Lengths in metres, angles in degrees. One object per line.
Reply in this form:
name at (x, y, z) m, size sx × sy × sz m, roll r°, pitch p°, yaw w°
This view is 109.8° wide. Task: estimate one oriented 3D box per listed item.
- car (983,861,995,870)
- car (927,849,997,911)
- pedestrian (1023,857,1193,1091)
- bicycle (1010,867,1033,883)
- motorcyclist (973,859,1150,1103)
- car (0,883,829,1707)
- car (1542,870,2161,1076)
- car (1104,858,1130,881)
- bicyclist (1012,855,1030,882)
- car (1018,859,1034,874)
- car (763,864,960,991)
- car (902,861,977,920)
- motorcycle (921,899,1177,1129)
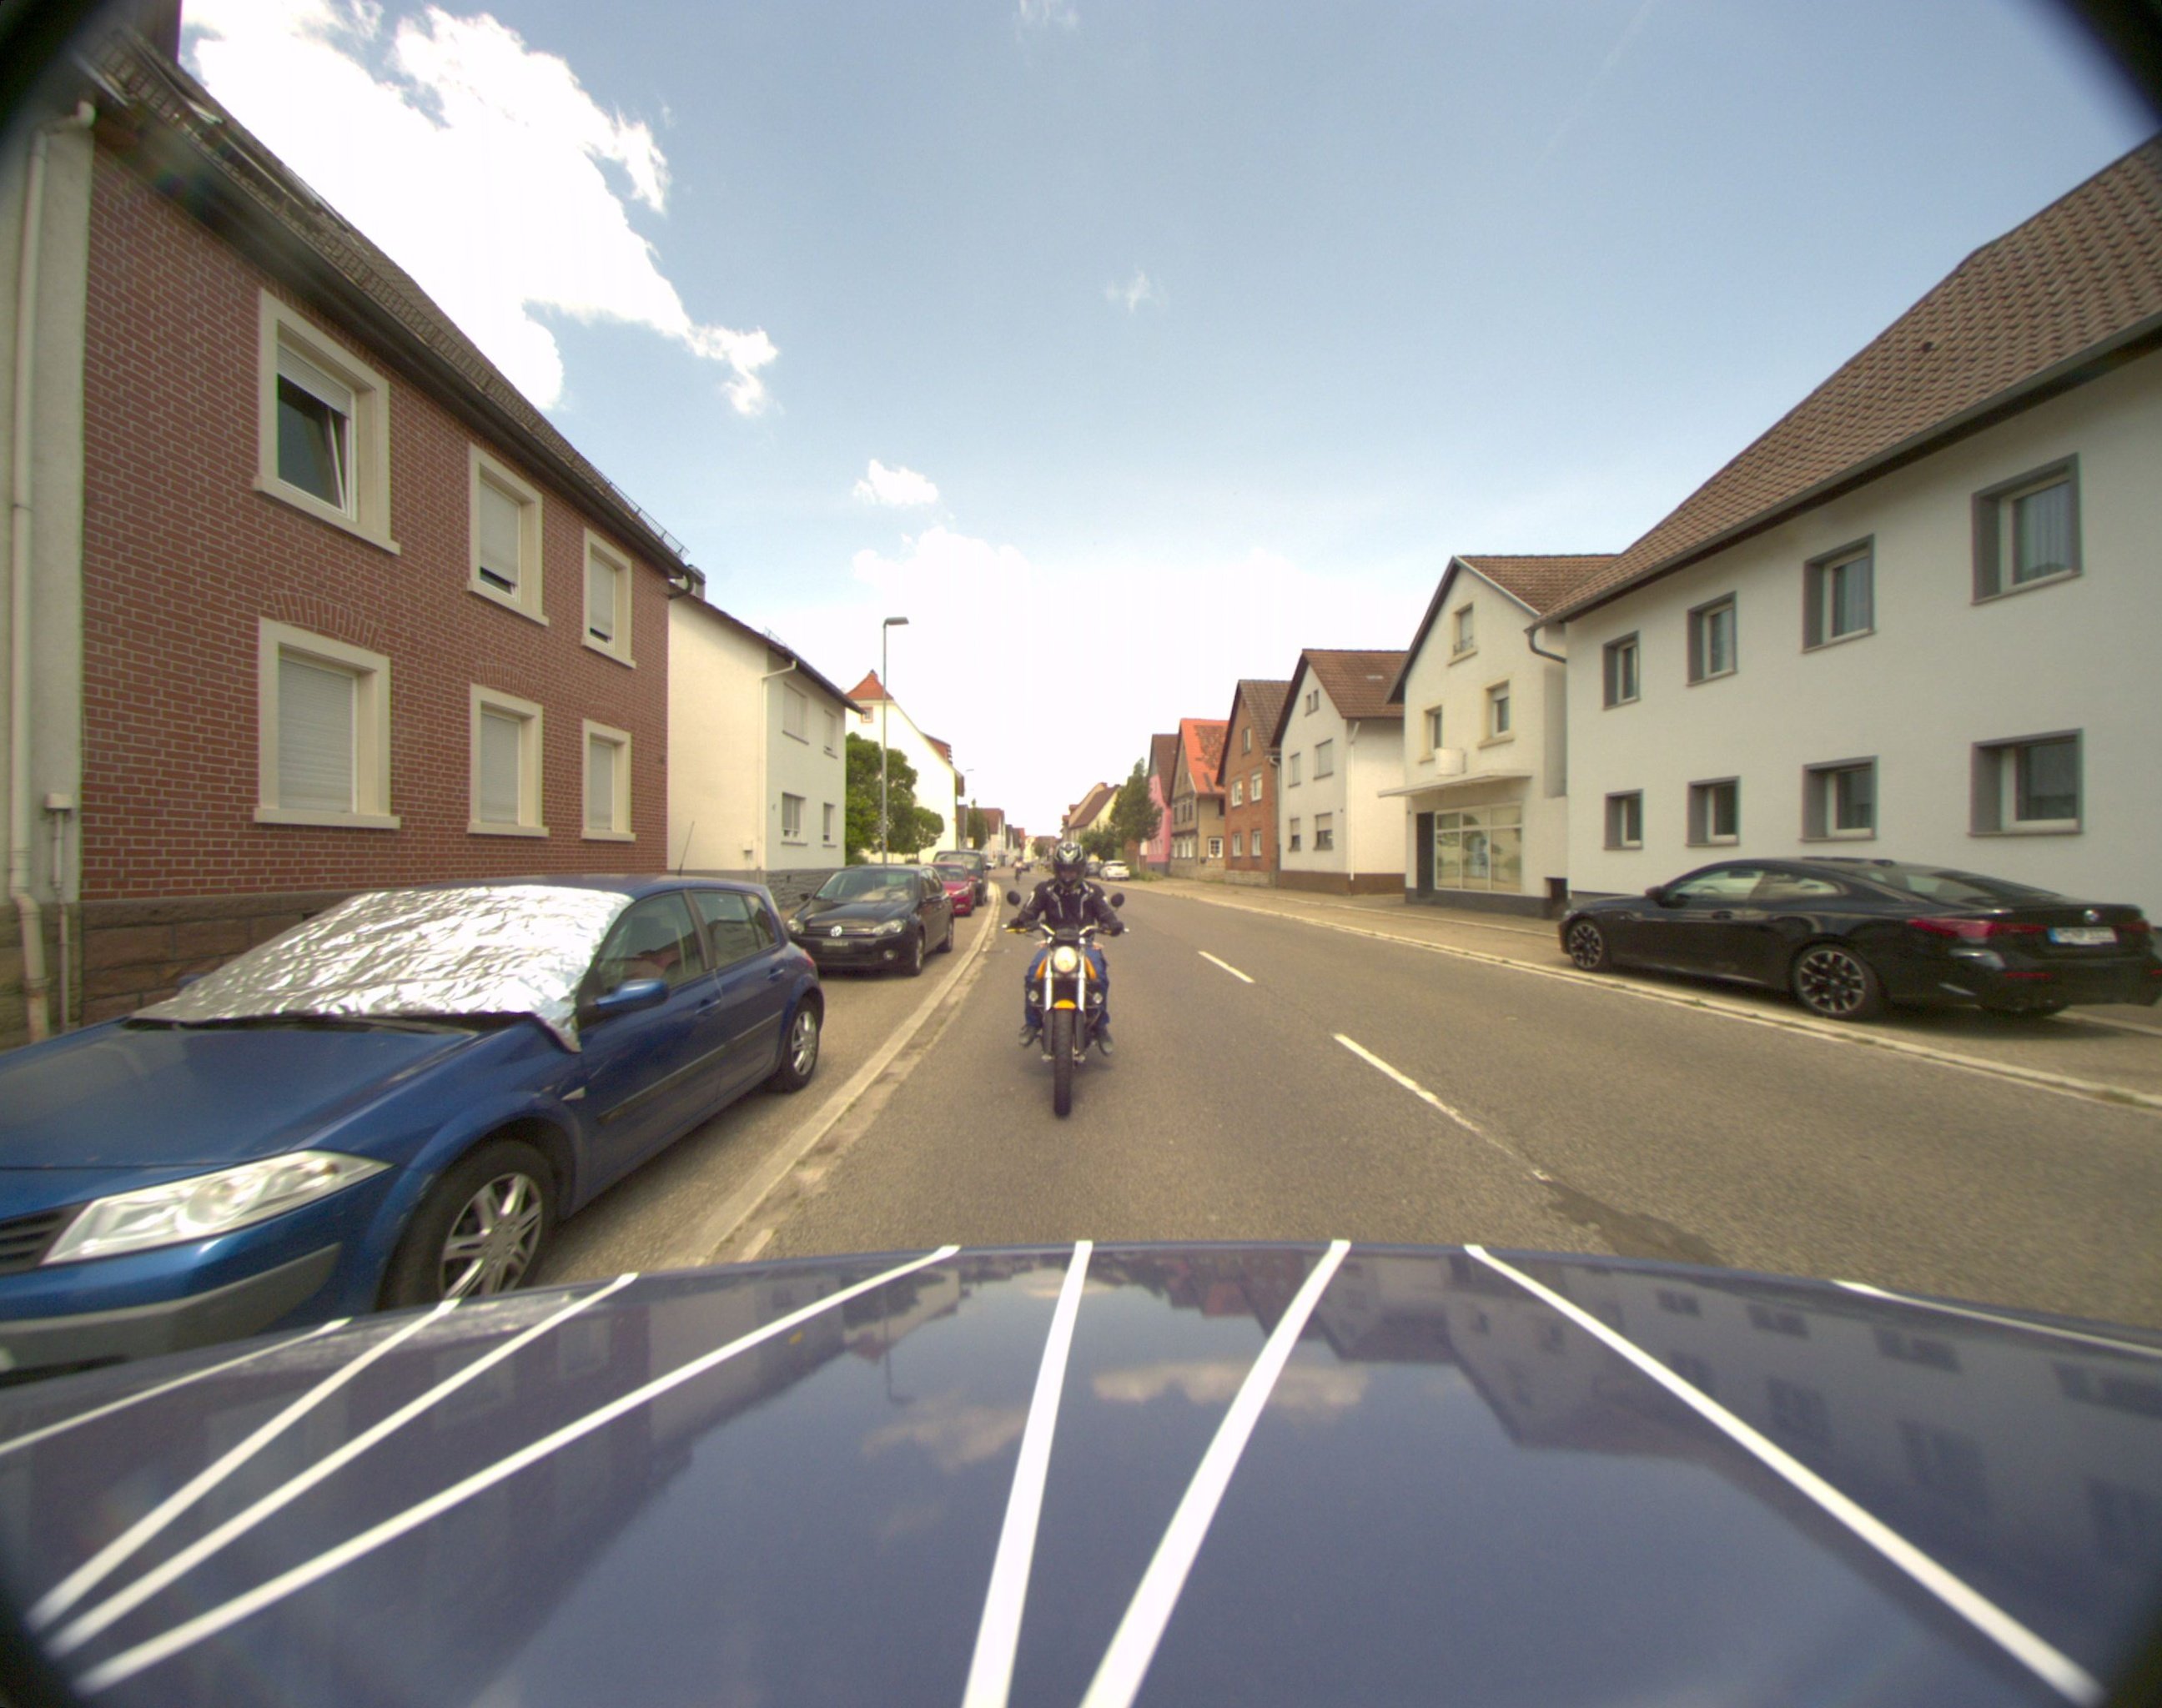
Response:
car at (-16.834, 2.089, 138.875) m, size 1.999 × 1.345 × 3.998 m, roll -2°, pitch 1°, yaw -4°
car at (-4.142, 0.823, 27.189) m, size 1.931 × 1.904 × 5.243 m, roll -2°, pitch 1°, yaw -4°
pedestrian at (0.222, 0.825, 5.716) m, size 0.998 × 1.565 × 0.801 m, roll -1°, pitch 2°, yaw 25°
bicycle at (-3.852, 1.351, 49.543) m, size 0.933 × 1.005 × 1.927 m, roll -1°, pitch -1°, yaw 13°
motorcyclist at (-0.120, 0.849, 5.563) m, size 0.998 × 1.591 × 0.801 m, roll -1°, pitch 2°, yaw 25°
car at (-2.729, 0.928, 3.379) m, size 1.726 × 1.377 × 4.000 m, roll 0°, pitch 1°, yaw 3°
car at (7.091, 0.873, 7.660) m, size 1.770 × 1.341 × 4.755 m, roll -1°, pitch -1°, yaw -4°
car at (2.650, 1.125, 56.917) m, size 1.683 × 1.521 × 3.498 m, roll -2°, pitch 1°, yaw -2°
bicyclist at (-3.883, 0.939, 49.499) m, size 0.908 × 1.679 × 0.762 m, roll -1°, pitch 1°, yaw 14°
car at (-7.735, 1.732, 106.818) m, size 1.999 × 2.002 × 3.998 m, roll -2°, pitch 1°, yaw -2°
car at (-2.967, 0.961, 11.164) m, size 1.772 × 1.520 × 4.001 m, roll 0°, pitch -2°, yaw -1°
car at (-3.990, 0.982, 22.084) m, size 1.744 × 1.495 × 4.556 m, roll 0°, pitch 0°, yaw -6°
motorcycle at (-0.109, 1.017, 5.618) m, size 0.983 × 1.233 × 2.107 m, roll -3°, pitch -1°, yaw 25°
